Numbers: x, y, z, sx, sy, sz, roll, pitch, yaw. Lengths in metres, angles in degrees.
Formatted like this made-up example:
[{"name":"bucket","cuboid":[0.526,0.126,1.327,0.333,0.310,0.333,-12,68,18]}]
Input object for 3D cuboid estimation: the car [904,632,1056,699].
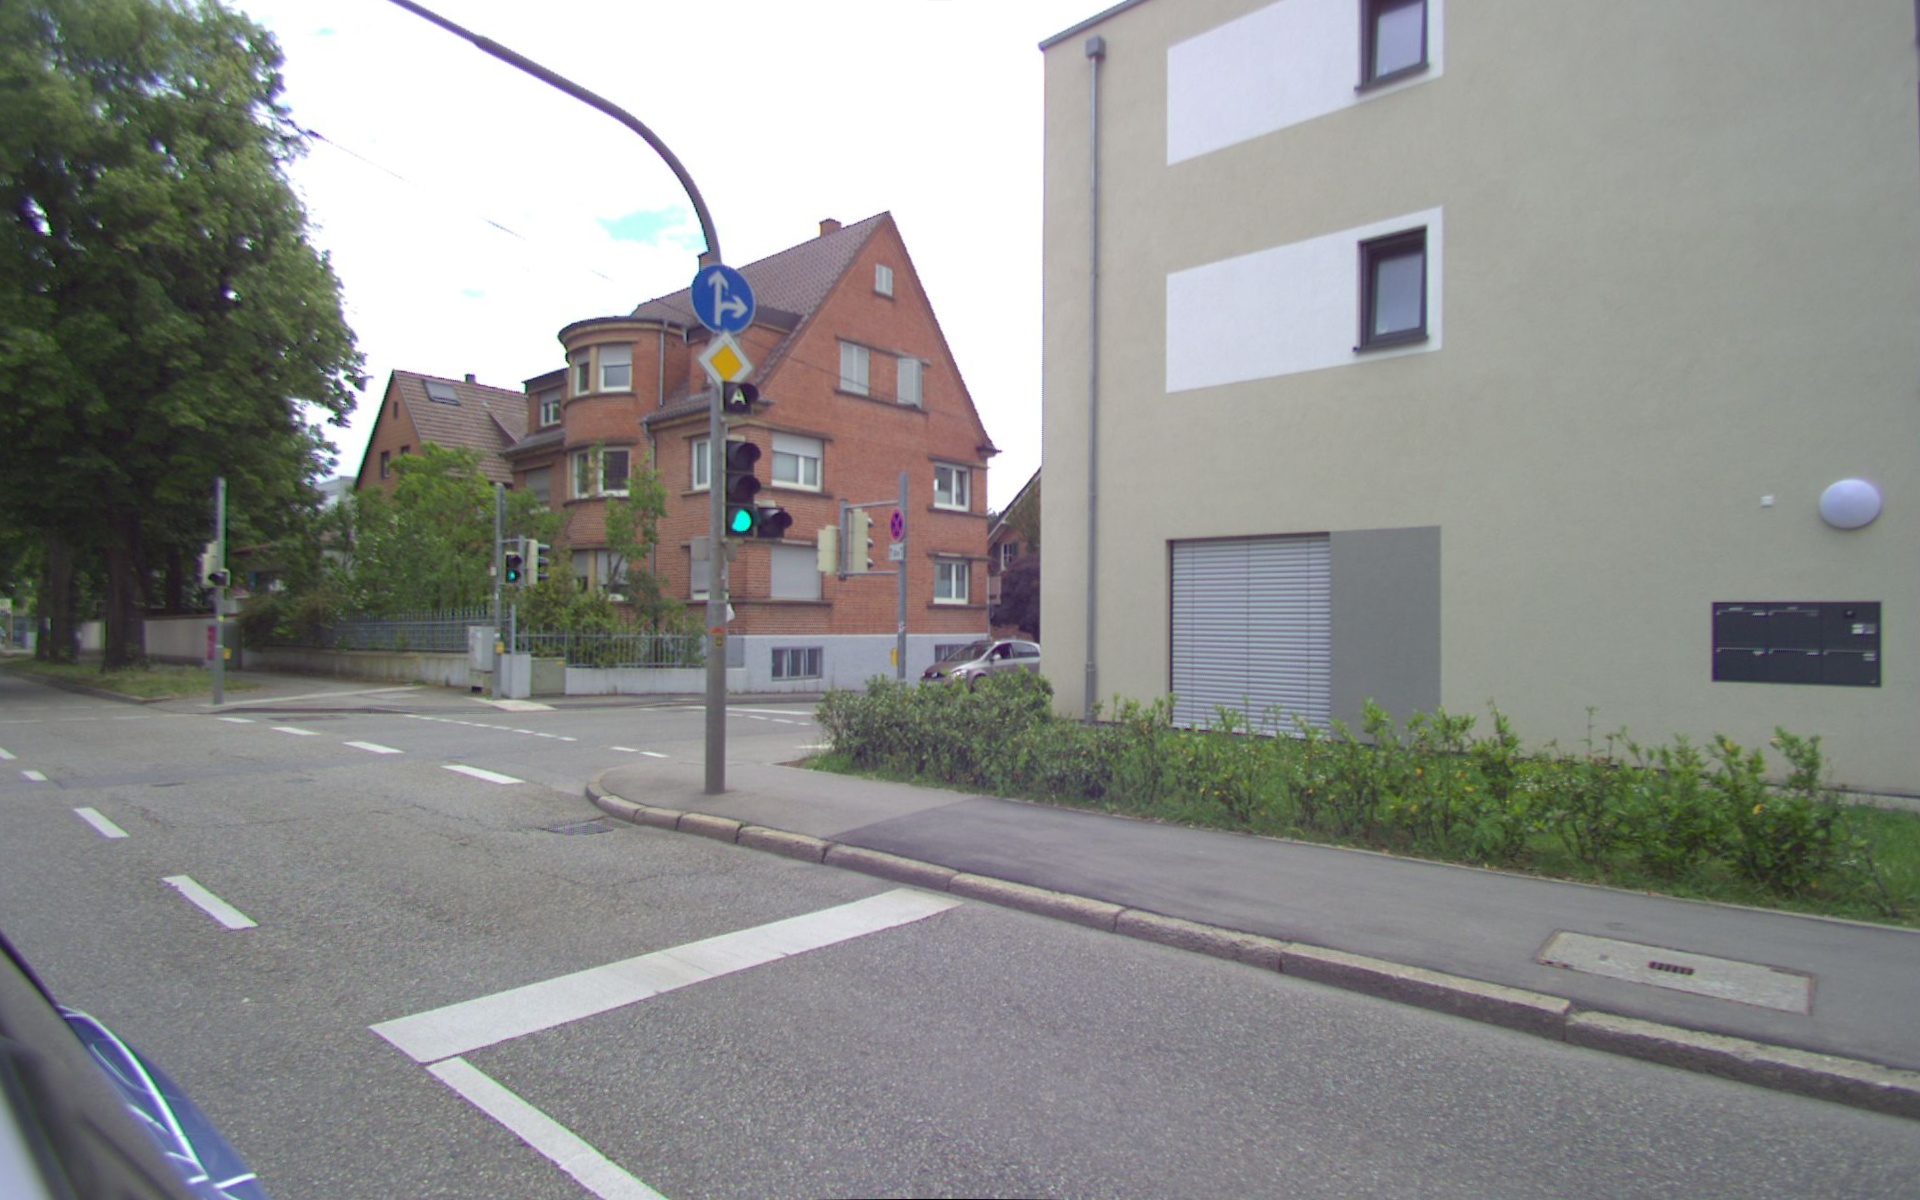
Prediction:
[{"name":"car","cuboid":[0.580,1.728,26.321,1.896,1.597,3.945,-4,-6,41]}]
